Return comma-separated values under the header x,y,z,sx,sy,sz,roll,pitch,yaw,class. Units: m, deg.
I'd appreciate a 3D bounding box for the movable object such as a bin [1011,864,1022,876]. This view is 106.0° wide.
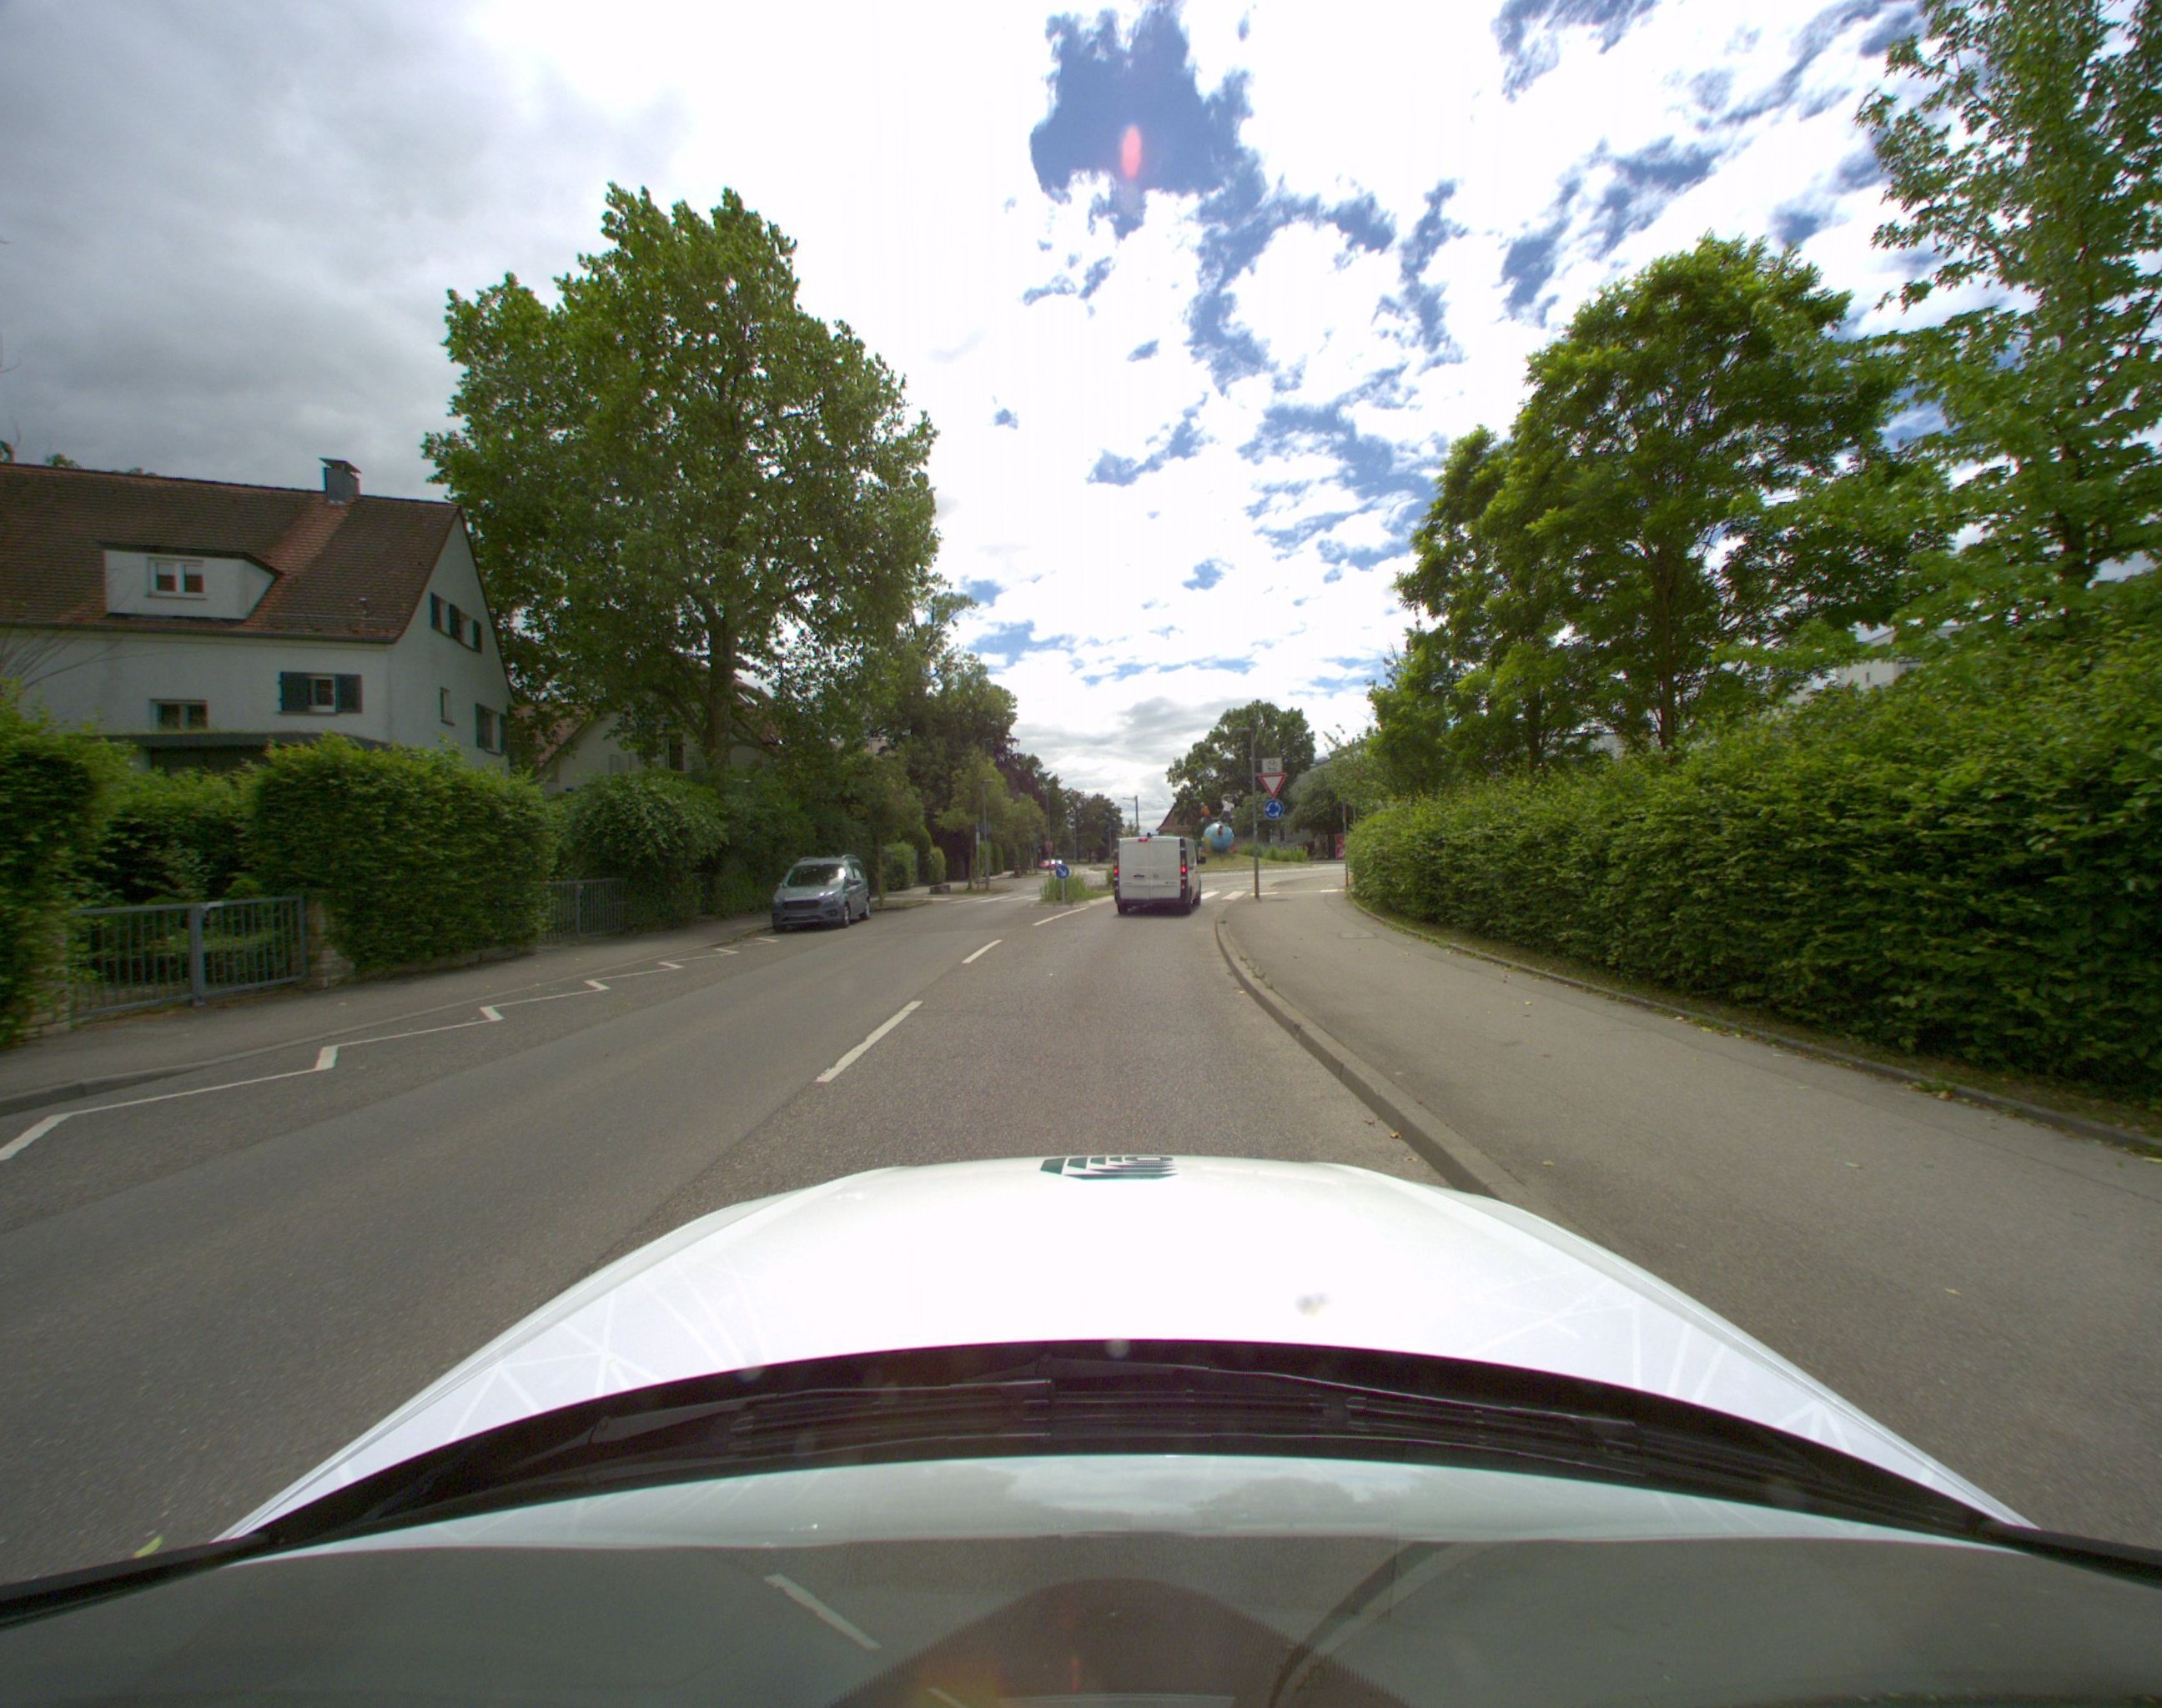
x,y,z,sx,sy,sz,roll,pitch,yaw,class
-4.958,1.253,62.634,0.625,0.863,0.642,-4,0,12,movable object such as a bin

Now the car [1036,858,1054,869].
x,y,z,sx,sy,sz,roll,pitch,yaw,class
-4.863,1.296,110.001,2.061,1.386,4.037,-2,1,-8,car

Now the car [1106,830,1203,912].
x,y,z,sx,sy,sz,roll,pitch,yaw,class
2.135,0.383,22.141,2.021,1.945,5.010,0,1,12,car

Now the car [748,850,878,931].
x,y,z,sx,sy,sz,roll,pitch,yaw,class
-6.540,0.791,20.461,2.129,1.772,4.456,0,1,-5,car

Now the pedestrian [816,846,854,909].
x,y,z,sx,sy,sz,roll,pitch,yaw,class
-8.247,0.776,27.343,0.870,2.013,1.040,-3,0,-3,pedestrian
